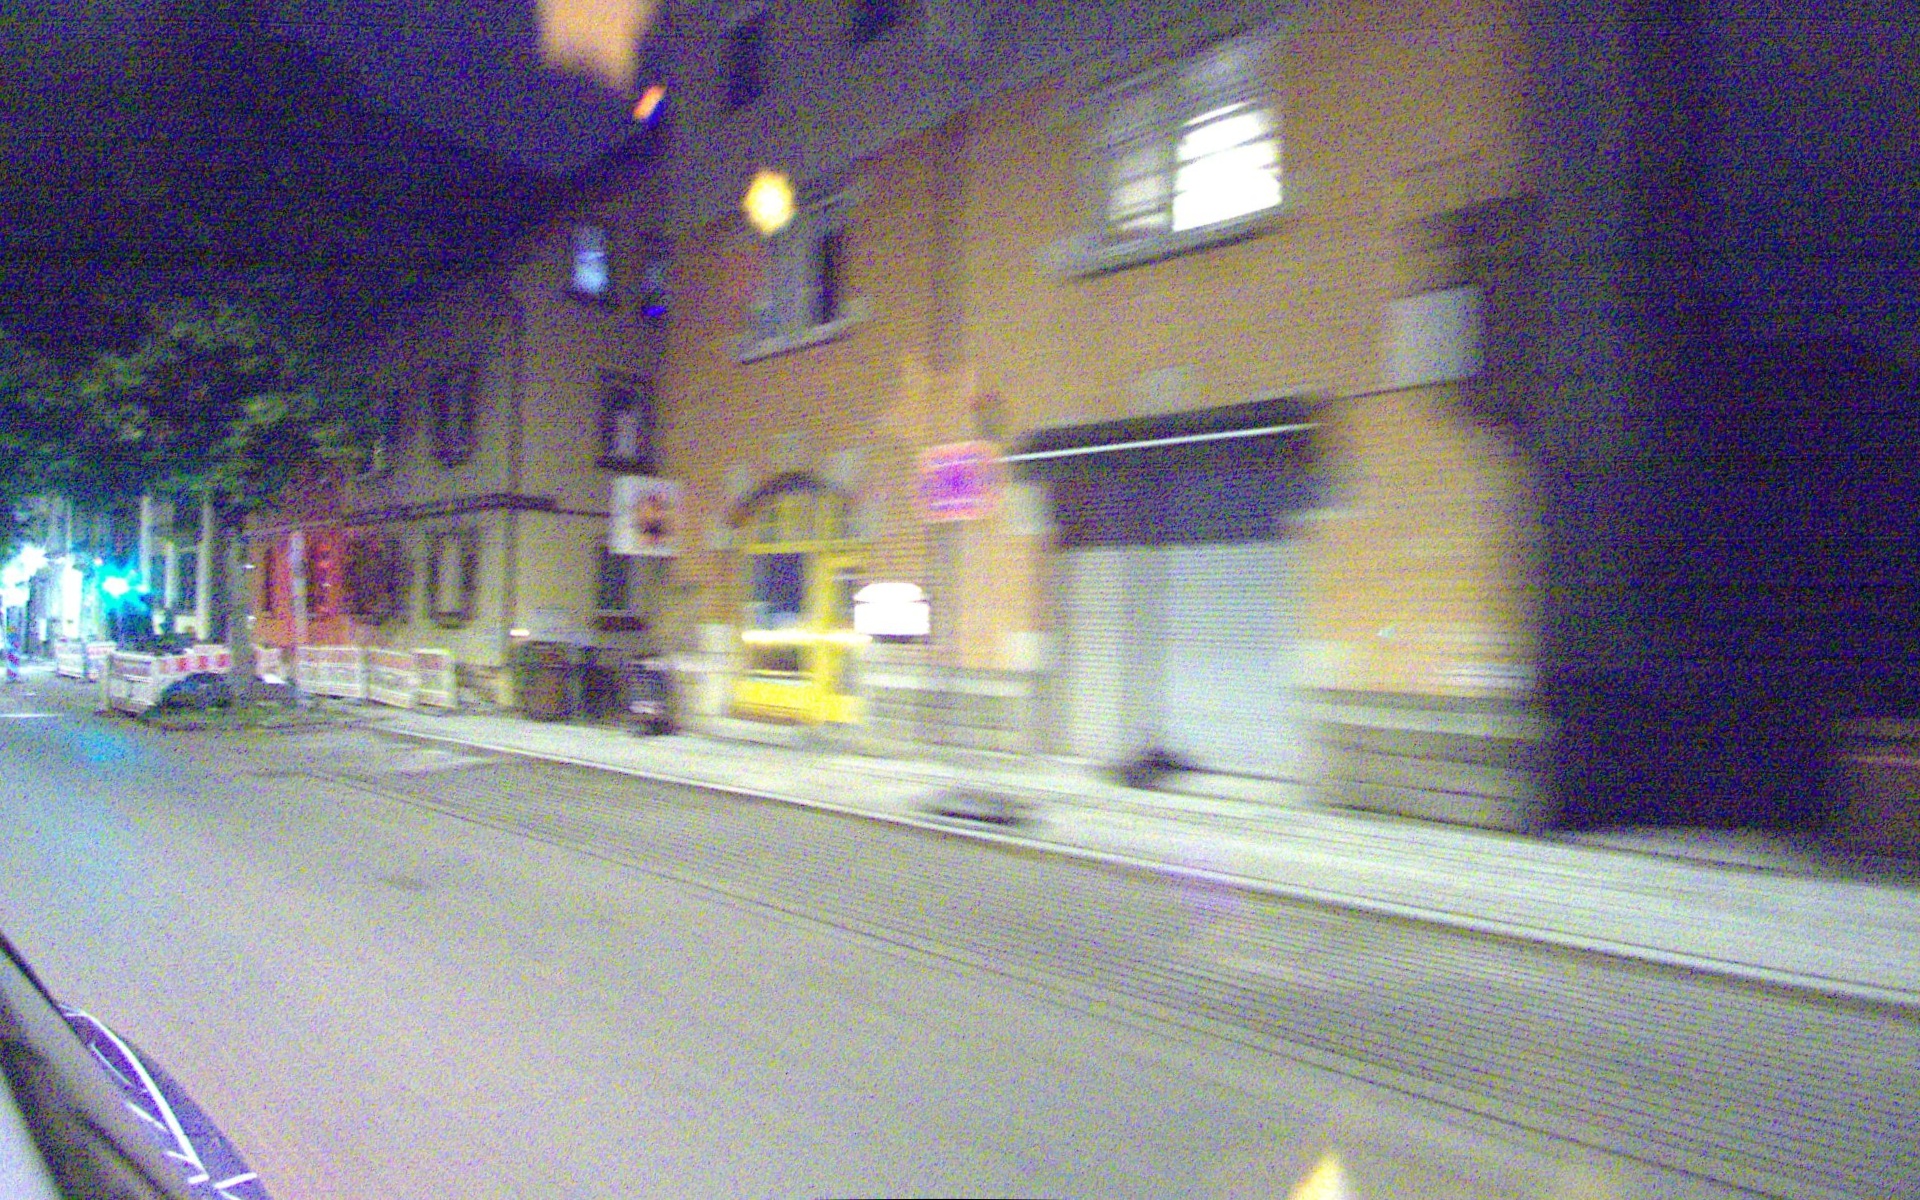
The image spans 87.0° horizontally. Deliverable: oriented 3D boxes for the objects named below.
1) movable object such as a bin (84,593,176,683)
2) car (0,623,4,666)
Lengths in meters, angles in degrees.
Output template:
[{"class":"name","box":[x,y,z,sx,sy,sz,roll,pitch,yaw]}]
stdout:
[{"class":"movable object such as a bin","box":[-25.990,1.203,31.656,3.908,2.647,1.554,-2,-4,42]},{"class":"car","box":[-43.055,1.908,43.790,4.811,1.857,1.864,-1,-2,40]}]
